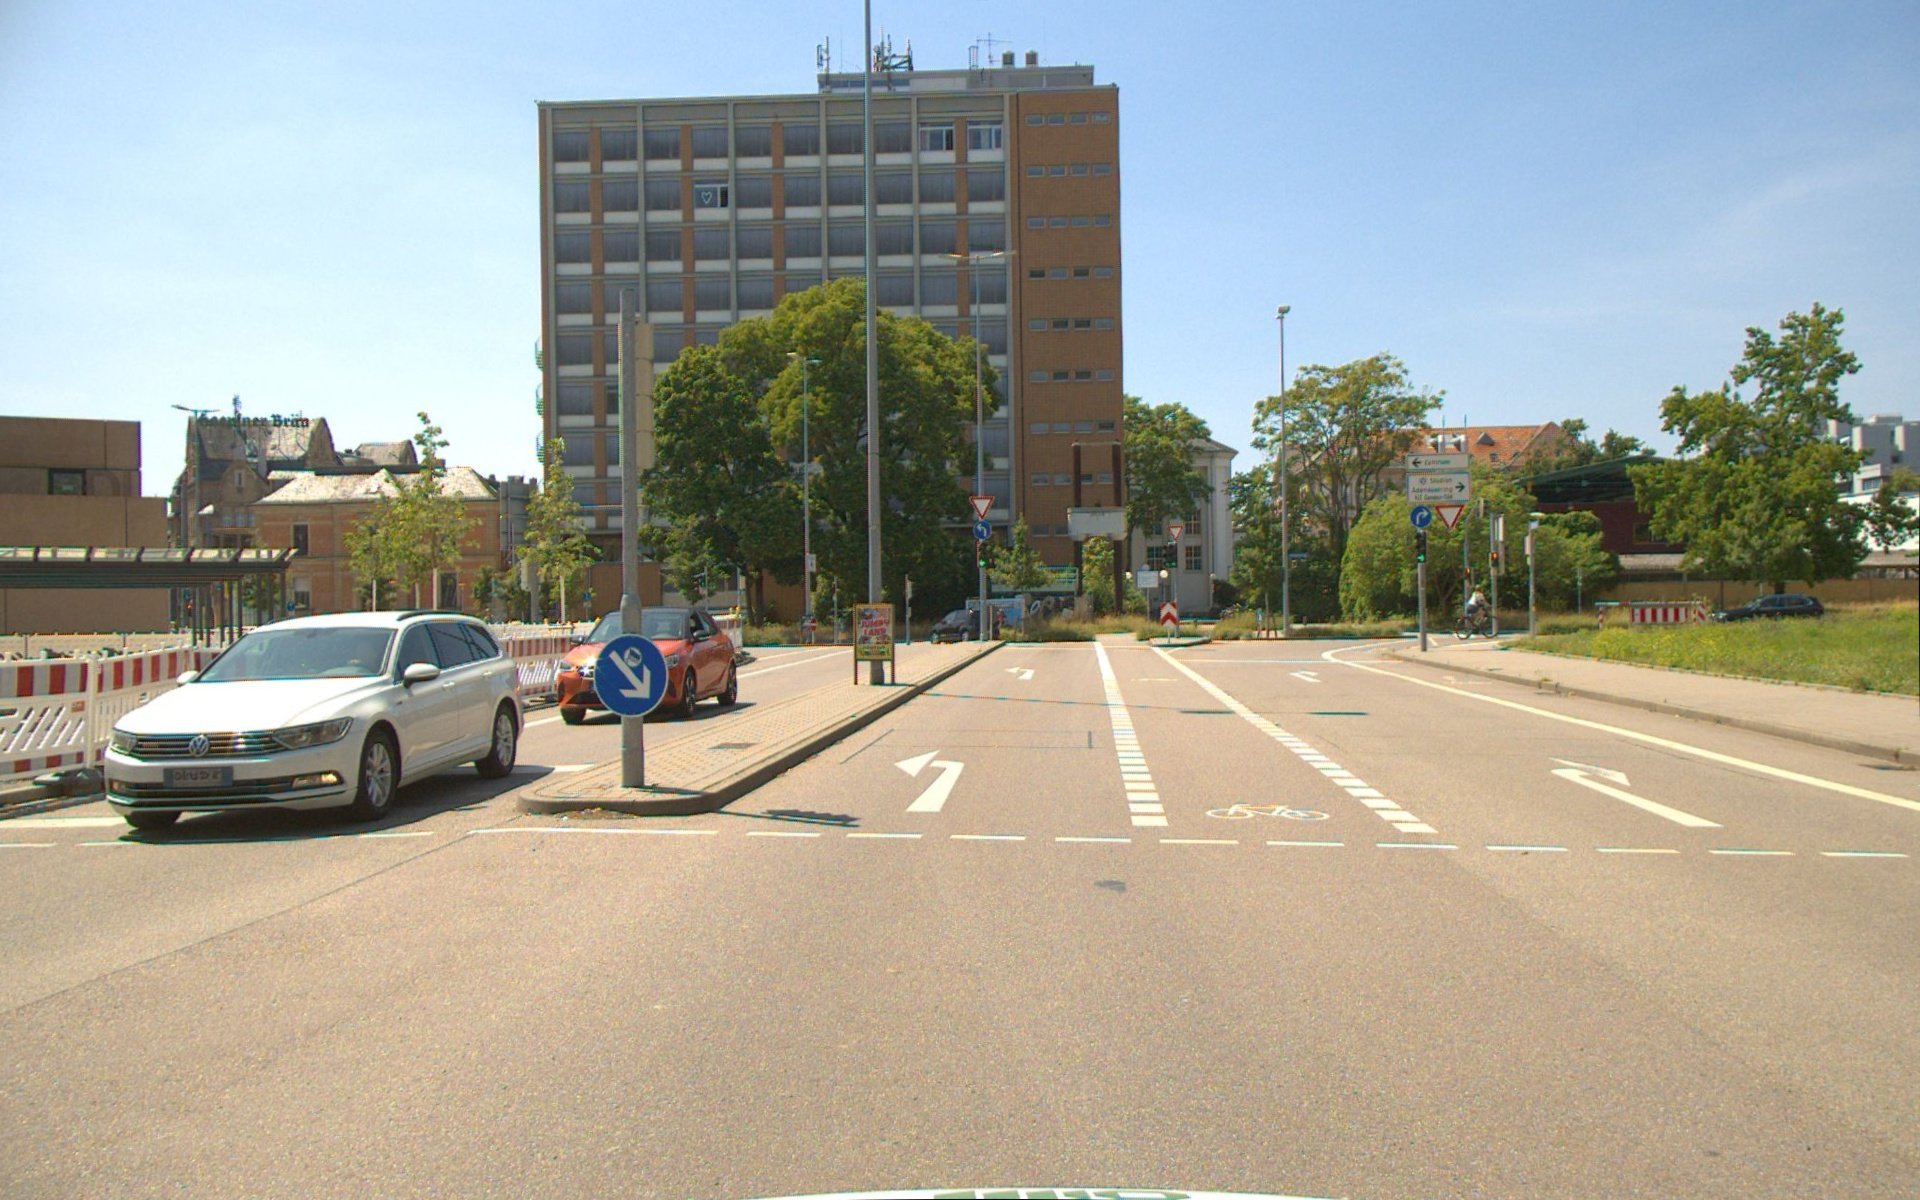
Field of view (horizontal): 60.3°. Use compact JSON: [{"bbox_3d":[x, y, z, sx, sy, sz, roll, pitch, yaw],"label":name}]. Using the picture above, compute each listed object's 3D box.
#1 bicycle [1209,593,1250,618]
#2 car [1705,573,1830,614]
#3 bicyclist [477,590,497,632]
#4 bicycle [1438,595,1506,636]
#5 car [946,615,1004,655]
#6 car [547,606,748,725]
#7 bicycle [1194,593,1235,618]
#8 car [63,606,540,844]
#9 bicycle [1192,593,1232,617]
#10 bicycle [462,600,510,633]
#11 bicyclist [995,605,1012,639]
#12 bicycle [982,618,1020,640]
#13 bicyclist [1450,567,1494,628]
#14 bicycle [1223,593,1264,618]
[{"bbox_3d":[22.427,0.437,137.694,3.374,2.049,0.761,1,-1,6],"label":"bicycle"},{"bbox_3d":[34.534,-0.249,70.826,4.444,1.614,1.710,-2,-1,10],"label":"car"},{"bbox_3d":[-18.595,0.438,65.005,0.486,1.607,0.531,-2,-2,21],"label":"bicyclist"},{"bbox_3d":[16.363,0.499,52.851,2.148,1.259,0.519,1,-1,-15],"label":"bicycle"},{"bbox_3d":[0.611,1.479,70.809,1.586,1.579,3.761,1,0,-14],"label":"car"},{"bbox_3d":[-4.167,0.826,22.662,1.652,1.402,4.015,-3,-1,4],"label":"car"},{"bbox_3d":[21.693,0.470,140.807,3.374,2.049,0.761,1,-1,6],"label":"bicycle"},{"bbox_3d":[-4.878,0.830,13.048,1.778,1.453,4.428,-3,0,2],"label":"car"},{"bbox_3d":[21.881,0.449,143.685,3.374,2.049,0.761,1,-1,6],"label":"bicycle"},{"bbox_3d":[-18.629,0.650,65.007,1.853,1.201,0.524,-2,-1,22],"label":"bicycle"},{"bbox_3d":[2.263,1.133,85.527,0.692,1.745,0.547,-1,1,-27],"label":"bicyclist"},{"bbox_3d":[2.125,1.485,85.440,1.968,1.063,0.553,-1,1,-29],"label":"bicycle"},{"bbox_3d":[16.338,-0.069,52.766,1.116,1.920,0.706,1,-1,-16],"label":"bicyclist"},{"bbox_3d":[23.852,0.485,139.121,3.374,2.049,0.761,1,-1,6],"label":"bicycle"}]
